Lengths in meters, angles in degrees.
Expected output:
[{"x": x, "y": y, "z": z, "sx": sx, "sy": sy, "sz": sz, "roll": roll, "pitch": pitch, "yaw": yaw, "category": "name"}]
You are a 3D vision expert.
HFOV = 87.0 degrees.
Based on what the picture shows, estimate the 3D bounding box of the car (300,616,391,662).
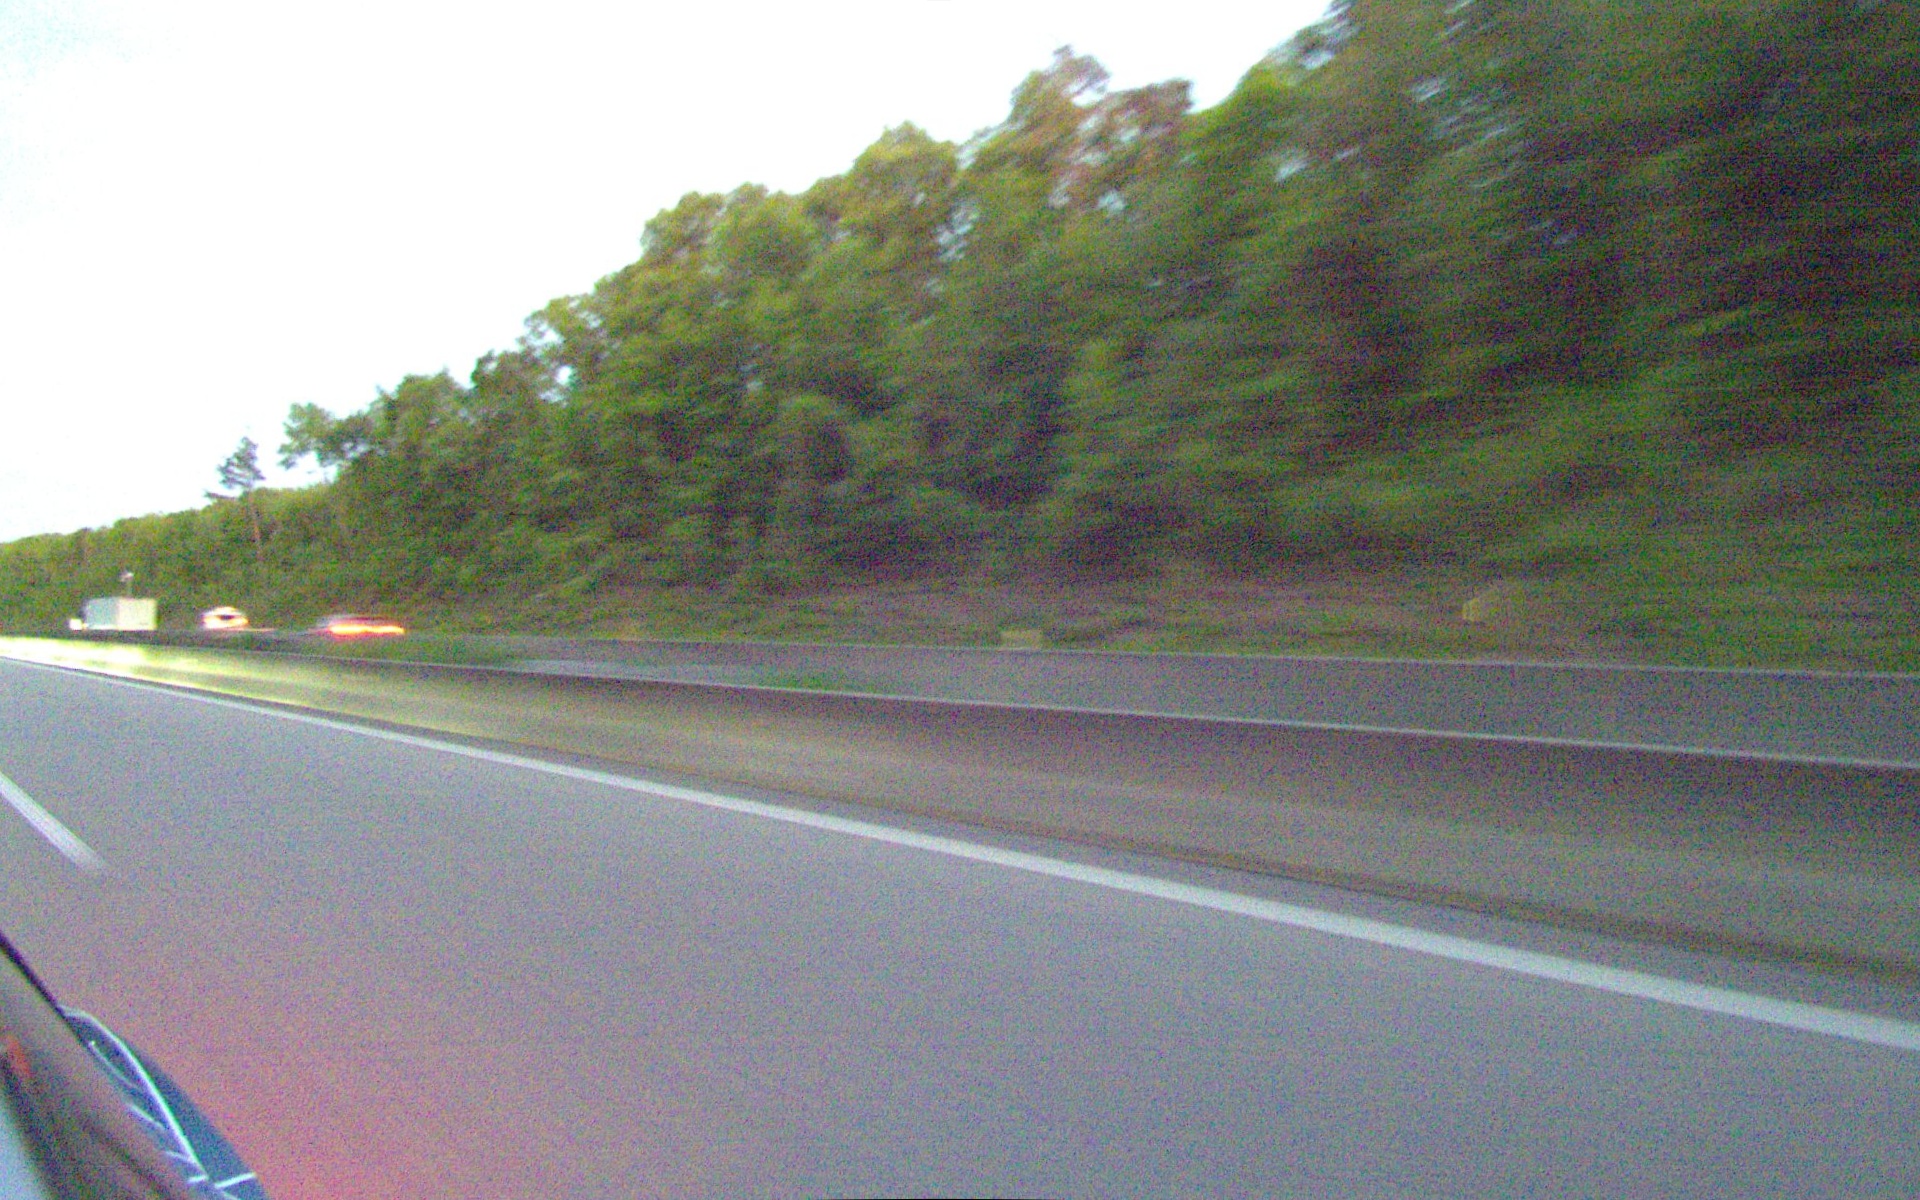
[{"x": -24.261, "y": 1.504, "z": 39.893, "sx": 4.712, "sy": 1.728, "sz": 1.718, "roll": -1, "pitch": -1, "yaw": 41, "category": "car"}]

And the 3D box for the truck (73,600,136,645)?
[{"x": -79.565, "y": 2.081, "z": 94.052, "sx": 6.874, "sy": 4.034, "sz": 3.345, "roll": -2, "pitch": -2, "yaw": 40, "category": "truck"}]

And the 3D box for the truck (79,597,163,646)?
[{"x": -74.496, "y": 1.971, "z": 89.681, "sx": 14.487, "sy": 4.034, "sz": 3.322, "roll": -2, "pitch": -2, "yaw": 41, "category": "truck"}]

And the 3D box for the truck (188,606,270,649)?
[{"x": -46.930, "y": 1.756, "z": 64.860, "sx": 9.754, "sy": 2.529, "sz": 2.434, "roll": -2, "pitch": -1, "yaw": 43, "category": "truck"}]
